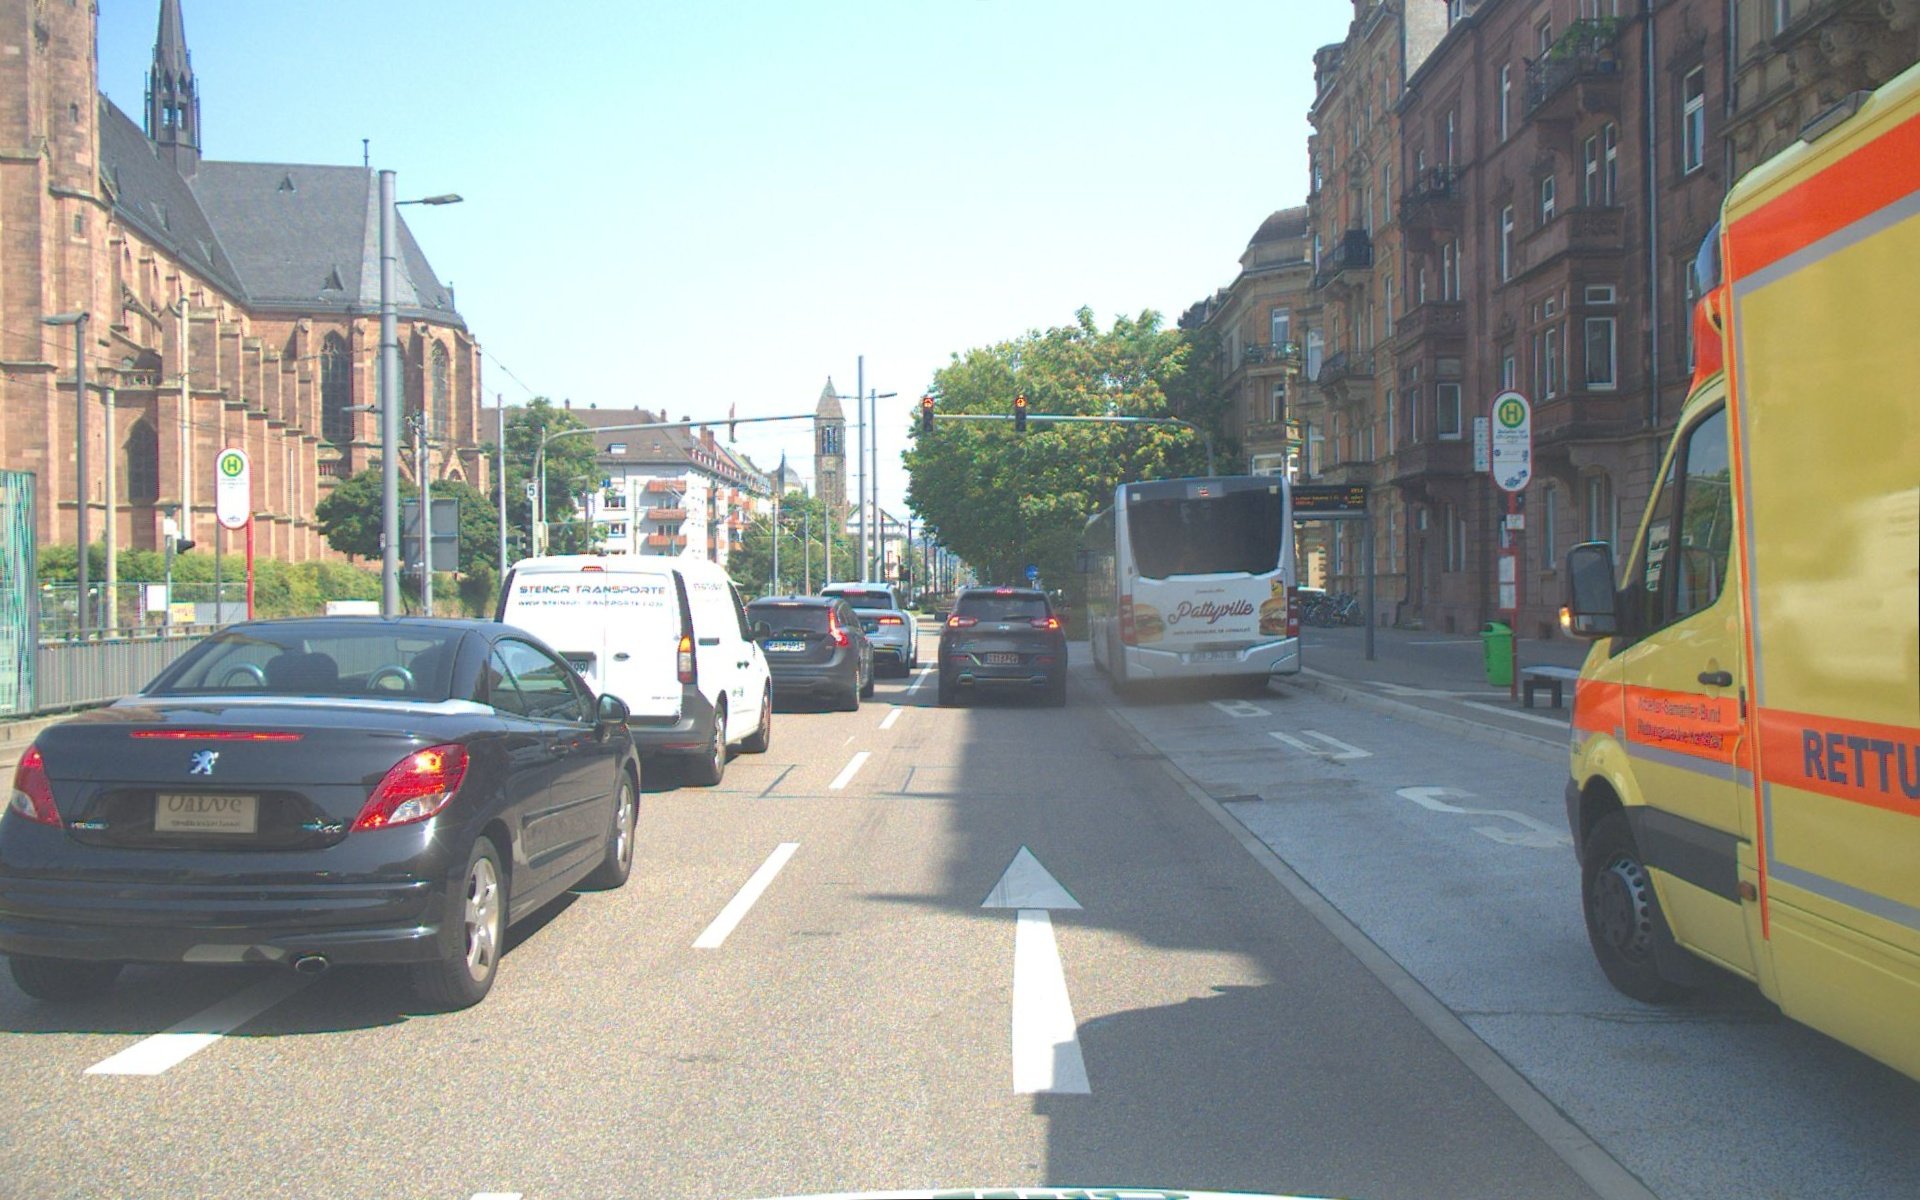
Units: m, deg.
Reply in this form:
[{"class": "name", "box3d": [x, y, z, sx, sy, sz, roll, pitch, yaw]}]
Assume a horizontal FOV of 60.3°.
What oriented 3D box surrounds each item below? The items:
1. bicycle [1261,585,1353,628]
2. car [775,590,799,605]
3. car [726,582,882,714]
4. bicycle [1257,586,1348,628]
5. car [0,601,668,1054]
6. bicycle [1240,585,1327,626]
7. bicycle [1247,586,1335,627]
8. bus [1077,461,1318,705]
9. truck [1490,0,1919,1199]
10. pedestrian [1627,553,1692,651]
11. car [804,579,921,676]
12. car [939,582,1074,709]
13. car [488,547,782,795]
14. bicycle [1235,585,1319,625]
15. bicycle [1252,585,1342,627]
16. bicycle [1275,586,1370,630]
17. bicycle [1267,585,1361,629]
[{"class": "bicycle", "box3d": [11.746, 0.227, 56.009, 2.932, 1.395, 0.871, -1, 0, -1]}, {"class": "car", "box3d": [-17.747, -0.275, 169.777, 1.709, 1.460, 4.576, -2, 1, 4]}, {"class": "car", "box3d": [-2.063, 0.586, 22.968, 1.711, 1.642, 4.308, 1, 0, 0]}, {"class": "bicycle", "box3d": [11.775, 0.236, 56.956, 2.932, 1.395, 0.871, -1, 0, -1]}, {"class": "car", "box3d": [-2.457, 0.742, 7.273, 1.653, 1.438, 3.801, 0, 0, 0]}, {"class": "bicycle", "box3d": [11.720, 0.197, 60.005, 2.942, 1.397, 0.947, -1, 0, 0]}, {"class": "bicycle", "box3d": [11.799, 0.211, 58.995, 2.942, 1.397, 0.947, -1, 0, 0]}, {"class": "bus", "box3d": [3.633, -0.251, 28.395, 2.686, 3.161, 11.959, -3, 0, 2]}, {"class": "truck", "box3d": [3.352, -0.008, 4.124, 2.279, 2.818, 6.341, -3, 0, 4]}, {"class": "pedestrian", "box3d": [13.079, 0.029, 30.924, 0.857, 1.809, 0.737, -1, 0, -27]}, {"class": "car", "box3d": [-1.740, 0.455, 30.776, 1.863, 1.680, 4.308, 0, 1, 0]}, {"class": "car", "box3d": [0.685, 0.593, 24.364, 1.795, 1.680, 4.309, 1, 0, 1]}, {"class": "car", "box3d": [-2.668, 0.519, 14.530, 1.711, 1.852, 4.239, 0, 0, 0]}, {"class": "bicycle", "box3d": [11.737, 0.187, 61.323, 2.942, 1.397, 0.947, -1, 0, 0]}, {"class": "bicycle", "box3d": [11.781, 0.208, 57.900, 2.942, 1.397, 0.947, -1, 0, 0]}, {"class": "bicycle", "box3d": [11.866, 0.252, 54.189, 2.932, 1.395, 0.871, -1, 0, -1]}, {"class": "bicycle", "box3d": [11.780, 0.232, 55.096, 2.932, 1.395, 0.871, -1, 0, -1]}]
